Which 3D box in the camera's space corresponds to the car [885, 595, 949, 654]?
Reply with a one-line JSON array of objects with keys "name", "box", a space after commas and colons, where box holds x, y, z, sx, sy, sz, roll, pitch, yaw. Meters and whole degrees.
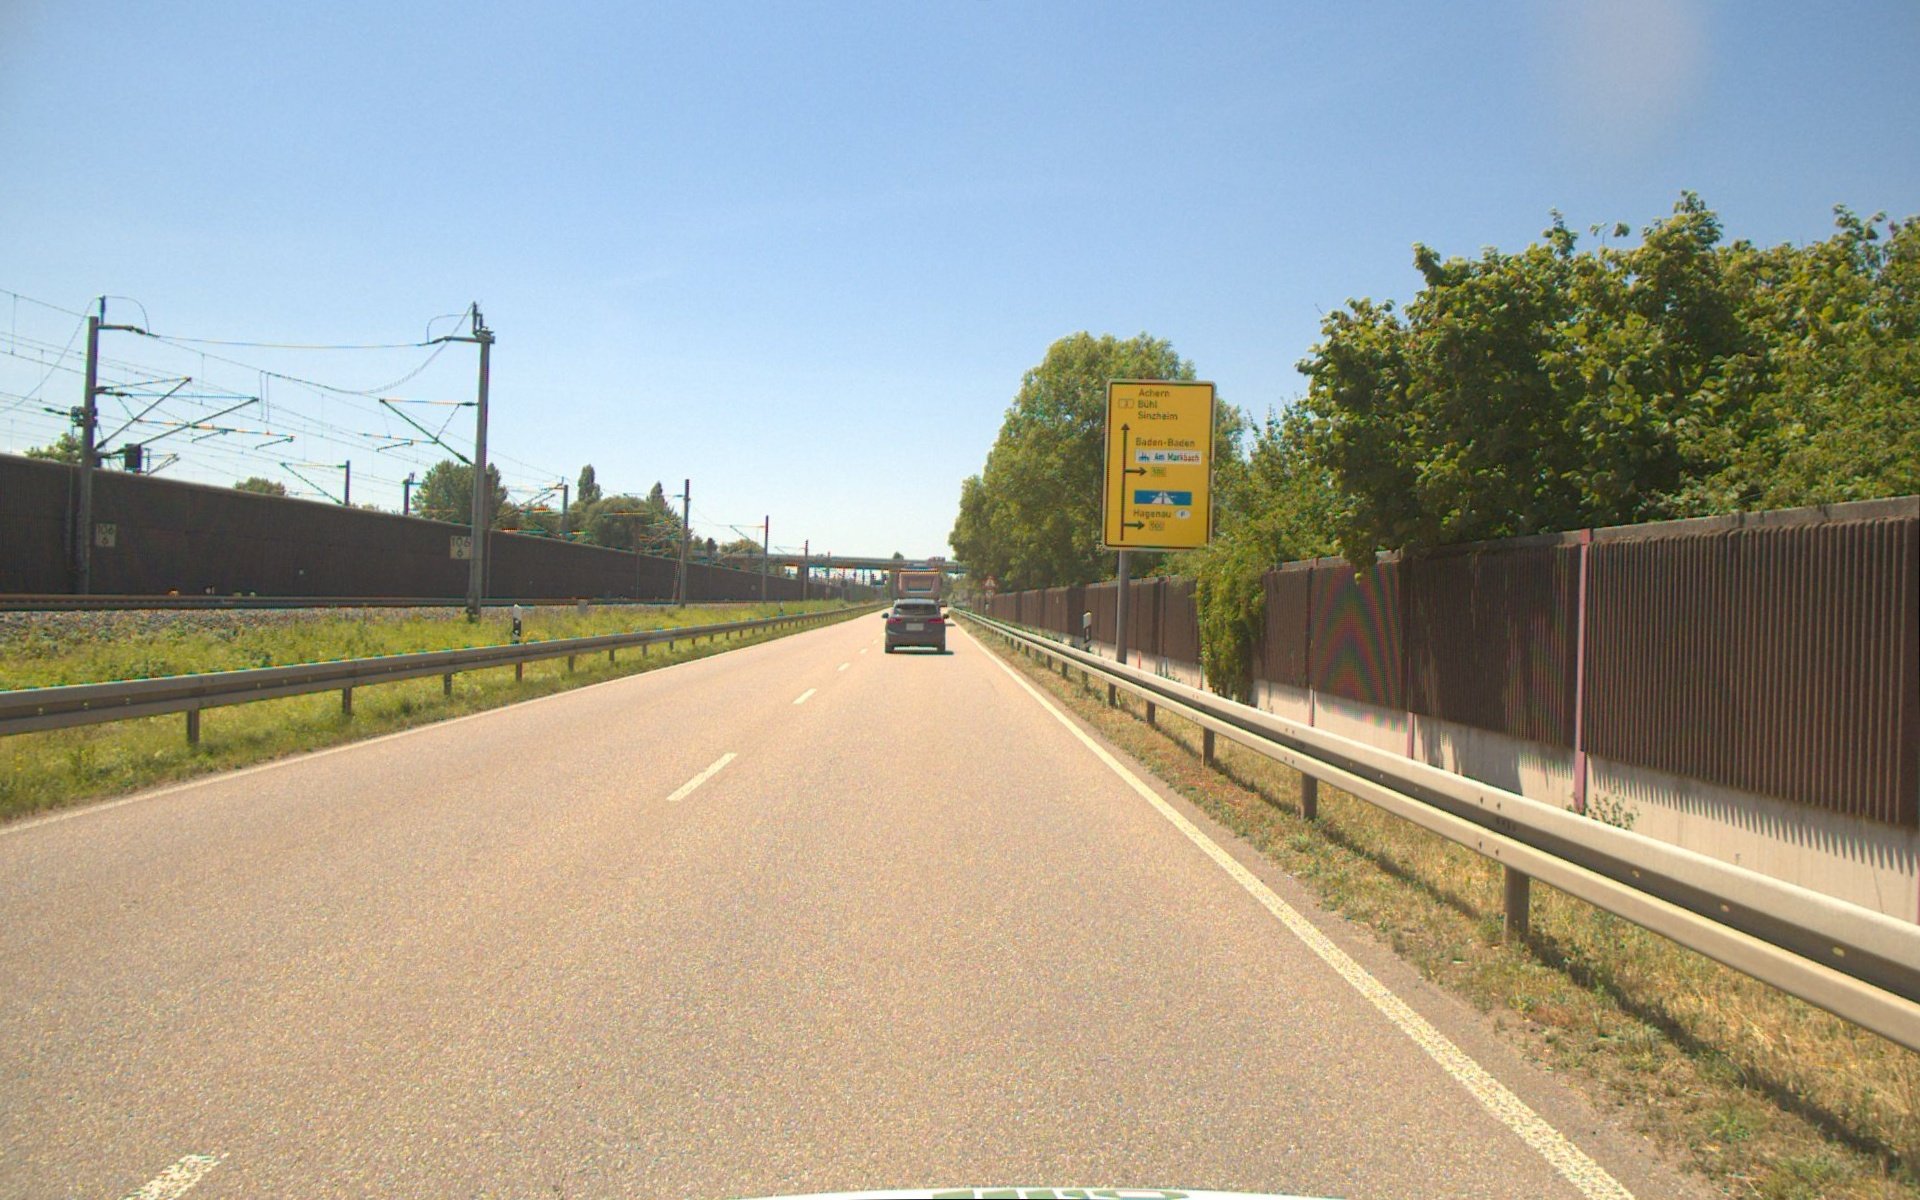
[{"name": "car", "box": [-1.330, 0.706, 49.620, 1.808, 1.651, 4.223, 1, 0, -3]}]

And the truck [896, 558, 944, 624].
[{"name": "truck", "box": [-2.482, -0.512, 103.129, 2.776, 3.888, 11.881, 1, 0, -1]}]
